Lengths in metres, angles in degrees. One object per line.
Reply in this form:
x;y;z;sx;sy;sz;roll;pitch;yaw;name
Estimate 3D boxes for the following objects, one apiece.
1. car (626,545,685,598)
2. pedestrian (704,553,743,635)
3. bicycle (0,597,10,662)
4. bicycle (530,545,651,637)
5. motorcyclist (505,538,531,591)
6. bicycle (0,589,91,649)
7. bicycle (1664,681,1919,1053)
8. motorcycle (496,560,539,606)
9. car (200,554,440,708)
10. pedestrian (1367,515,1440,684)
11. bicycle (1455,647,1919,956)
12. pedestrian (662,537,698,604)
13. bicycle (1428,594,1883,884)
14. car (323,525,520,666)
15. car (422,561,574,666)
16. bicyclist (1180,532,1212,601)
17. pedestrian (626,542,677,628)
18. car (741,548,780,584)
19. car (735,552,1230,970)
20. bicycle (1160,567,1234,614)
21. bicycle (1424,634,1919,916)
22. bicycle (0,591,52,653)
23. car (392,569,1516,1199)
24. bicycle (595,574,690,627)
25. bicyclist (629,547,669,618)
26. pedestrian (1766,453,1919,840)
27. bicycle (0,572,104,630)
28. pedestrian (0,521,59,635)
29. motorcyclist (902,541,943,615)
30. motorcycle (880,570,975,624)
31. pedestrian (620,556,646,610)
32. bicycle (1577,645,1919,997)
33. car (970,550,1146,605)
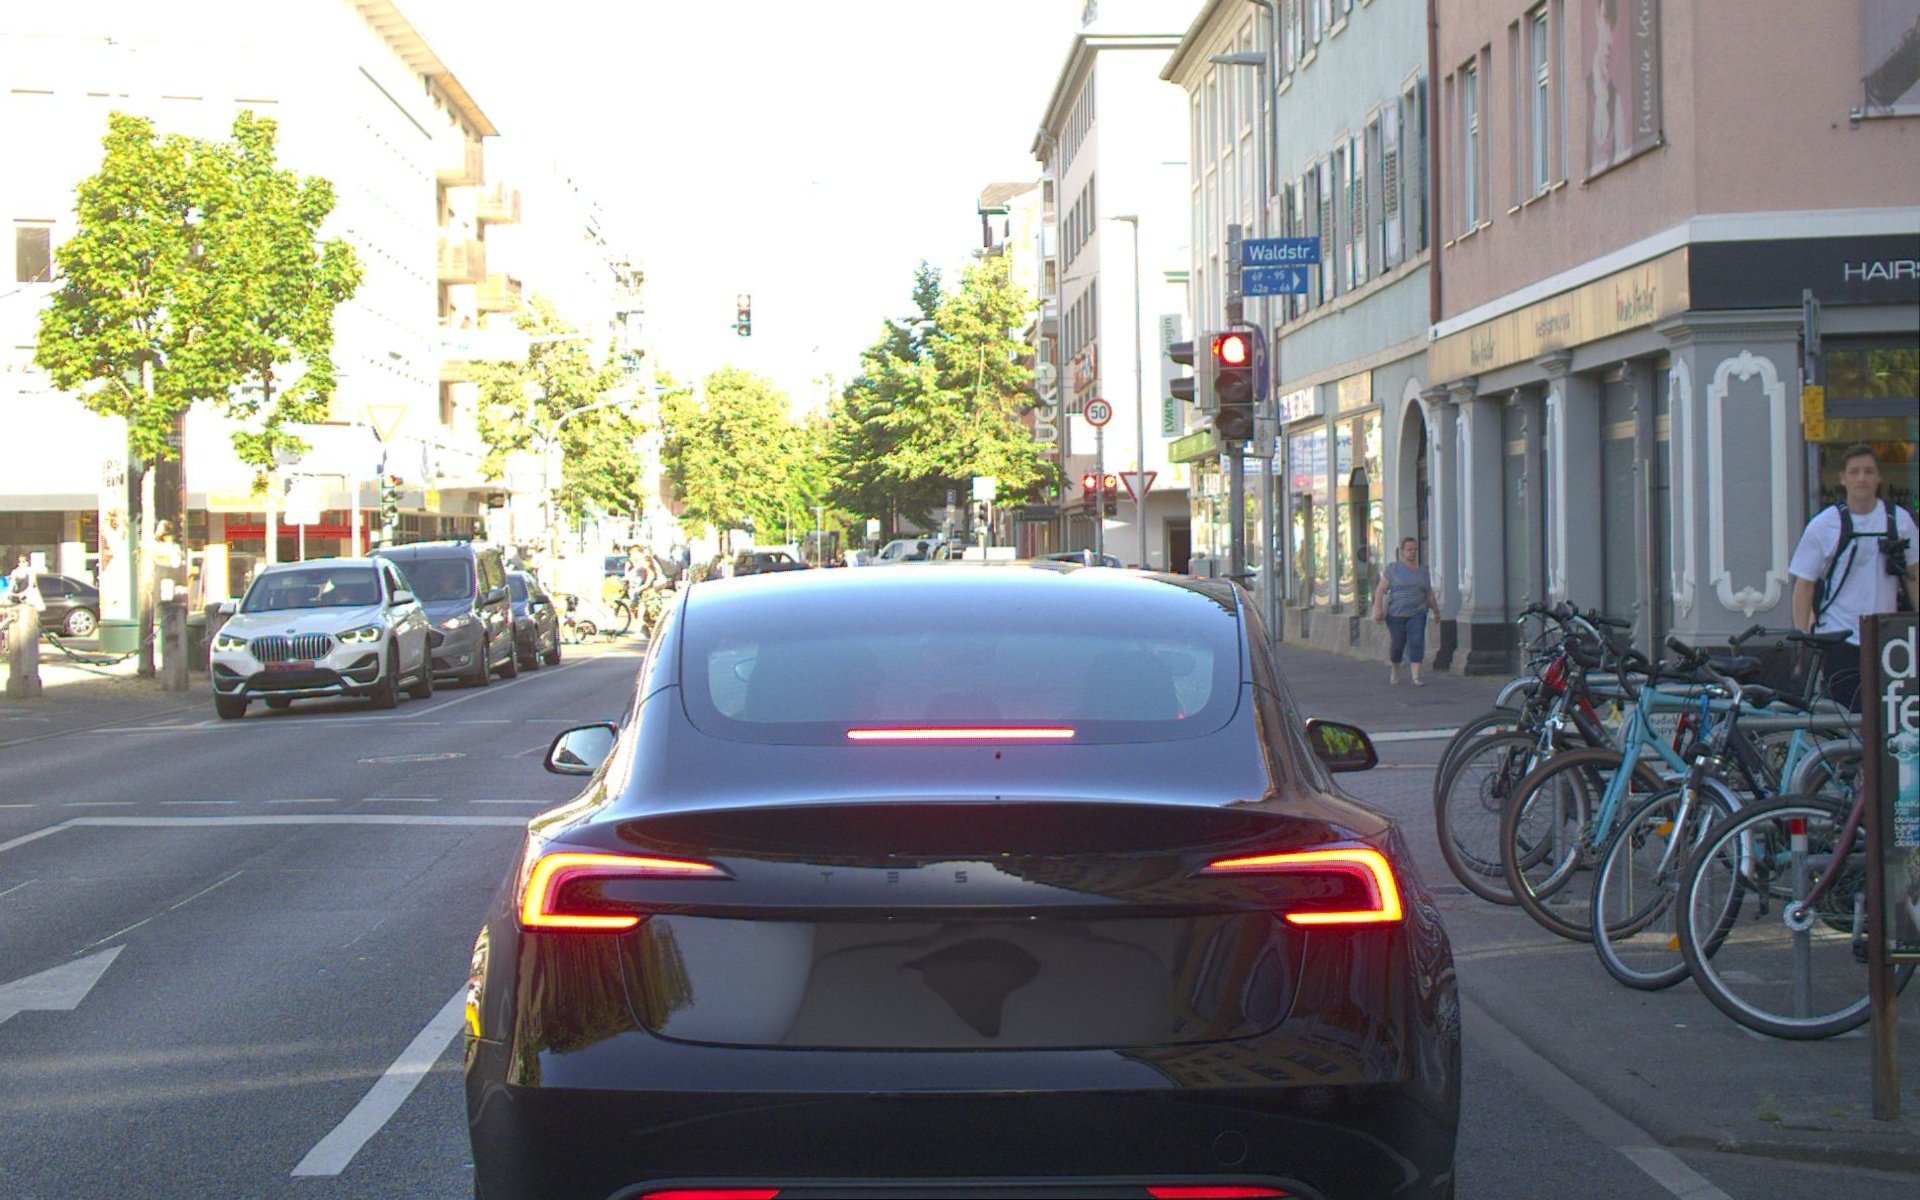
-9.203;-0.878;103.699;1.706;1.546;3.697;0;1;-6;car
-4.471;-0.111;64.944;0.622;1.532;0.514;1;0;-18;pedestrian
-14.799;0.417;49.841;1.864;0.931;0.606;1;0;-1;bicycle
-6.747;-0.166;62.766;2.101;1.659;0.669;1;0;-16;bicycle
-10.536;-0.847;81.869;0.489;1.249;0.355;0;0;-38;motorcyclist
-14.837;0.301;54.701;1.864;0.931;0.606;0;1;-1;bicycle
3.025;0.752;9.952;1.873;1.034;0.353;-2;0;6;bicycle
-10.537;-0.400;81.878;0.977;1.082;0.356;-1;1;-37;motorcycle
-6.664;0.289;36.149;1.789;1.455;3.757;-2;1;0;car
4.612;-0.009;35.763;0.706;1.736;0.540;0;1;3;pedestrian
2.775;0.717;12.446;1.873;1.034;0.533;-2;0;4;bicycle
-7.447;-0.780;91.354;0.671;1.782;0.712;0;0;-36;pedestrian
2.963;0.589;14.756;1.828;1.165;0.505;-2;0;5;bicycle
-6.581;-0.092;42.406;1.787;1.640;4.403;0;1;-1;car
-6.677;0.166;49.970;1.715;1.441;3.845;1;1;-1;car
5.132;-0.735;74.764;0.522;1.498;0.476;1;0;-24;bicyclist
-5.914;-0.288;65.824;0.754;1.626;0.956;1;0;-18;pedestrian
-9.343;-1.599;161.306;1.751;1.683;3.832;1;1;-3;car
0.011;0.532;13.805;1.718;1.420;3.758;0;1;-2;car
5.161;-0.210;74.782;1.556;1.009;0.484;1;0;-24;bicycle
2.814;0.686;13.637;1.873;1.034;0.547;-2;0;5;bicycle
-14.809;0.326;52.253;1.864;0.931;0.606;0;1;-1;bicycle
-0.032;0.655;7.580;1.822;1.437;4.000;0;1;-1;car
-6.218;0.006;67.318;1.784;1.003;0.472;1;0;-16;bicycle
-6.092;-0.344;67.346;0.669;1.390;0.462;1;0;-16;bicyclist
4.243;0.208;16.122;0.750;1.759;0.836;1;0;4;pedestrian
-20.649;0.018;77.866;2.361;1.291;0.513;1;0;-26;bicycle
-16.553;-0.391;60.853;1.057;2.007;1.055;1;0;-20;pedestrian
-0.773;-0.455;71.120;0.719;1.523;0.516;0;1;-21;motorcyclist
-0.670;-0.064;71.163;1.926;1.107;0.519;0;1;-21;motorcycle
-8.693;-0.453;91.501;0.521;1.417;0.479;1;0;-30;pedestrian
2.995;0.699;11.183;1.873;1.084;0.414;-2;0;4;bicycle
2.461;-0.585;86.321;3.986;1.349;1.909;0;1;-21;car
